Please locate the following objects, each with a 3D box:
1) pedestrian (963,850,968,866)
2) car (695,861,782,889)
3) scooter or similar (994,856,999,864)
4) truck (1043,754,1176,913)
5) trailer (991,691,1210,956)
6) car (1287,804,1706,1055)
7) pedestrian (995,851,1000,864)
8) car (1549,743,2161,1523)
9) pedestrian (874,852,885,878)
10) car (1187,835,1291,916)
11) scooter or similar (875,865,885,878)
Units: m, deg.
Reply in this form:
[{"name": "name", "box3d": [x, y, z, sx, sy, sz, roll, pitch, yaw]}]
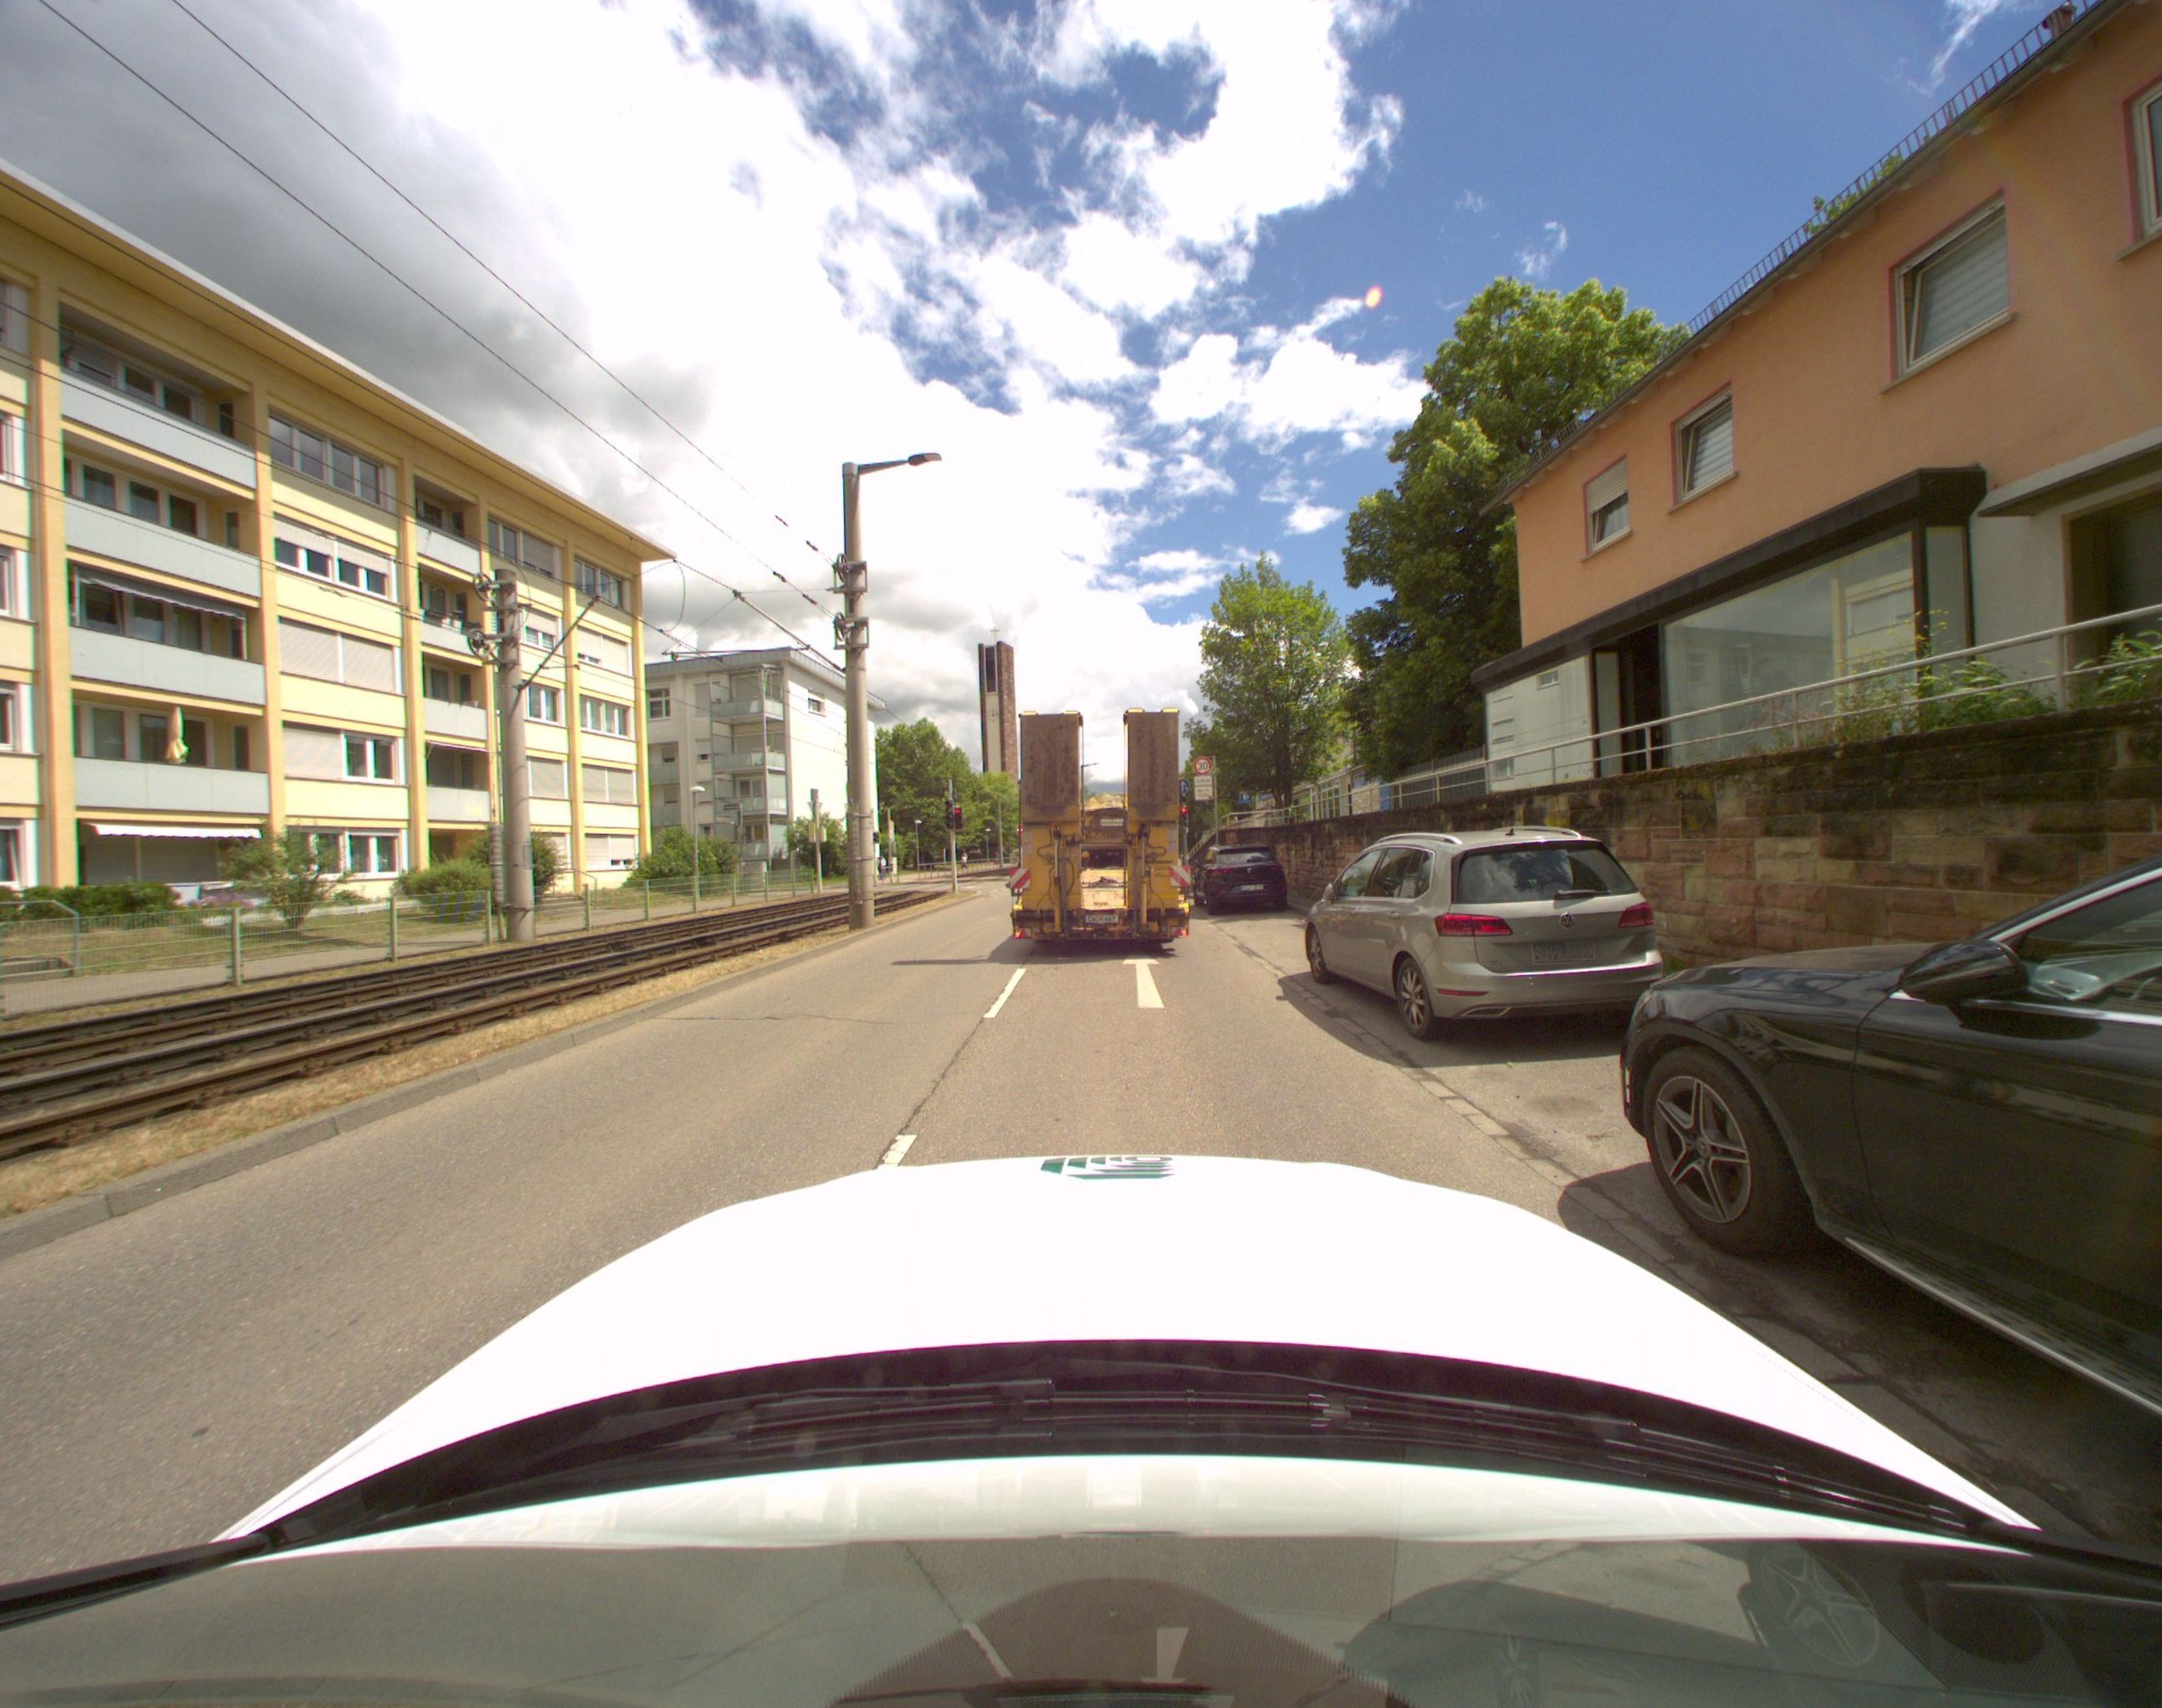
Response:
[{"name": "pedestrian", "box3d": [-11.057, 0.413, 78.110, 0.346, 1.537, 0.558, -2, 0, 6]}, {"name": "car", "box3d": [-18.930, 1.150, 45.087, 3.962, 1.345, 1.906, -2, 0, 10]}, {"name": "scooter or similar", "box3d": [-9.713, 0.669, 93.847, 0.504, 0.971, 0.646, 0, 0, 1]}, {"name": "truck", "box3d": [0.762, -0.488, 21.198, 2.931, 3.572, 4.880, -2, 0, 2]}, {"name": "trailer", "box3d": [0.496, -0.454, 15.701, 2.933, 3.601, 8.691, -2, 0, 3]}, {"name": "car", "box3d": [3.377, 0.510, 7.689, 1.783, 1.617, 4.249, -3, 0, 1]}, {"name": "pedestrian", "box3d": [-9.673, 0.400, 94.498, 0.562, 1.513, 0.646, 0, 0, 1]}, {"name": "car", "box3d": [3.085, 0.525, 1.578, 1.783, 1.617, 4.449, -4, 0, 1]}, {"name": "pedestrian", "box3d": [-12.533, 0.679, 50.704, 0.435, 1.580, 0.475, -2, 0, 6]}, {"name": "car", "box3d": [3.696, 0.460, 19.715, 1.843, 1.639, 4.003, -3, 0, 3]}, {"name": "scooter or similar", "box3d": [-12.369, 1.095, 50.224, 0.435, 0.747, 0.475, -2, 0, 7]}]
